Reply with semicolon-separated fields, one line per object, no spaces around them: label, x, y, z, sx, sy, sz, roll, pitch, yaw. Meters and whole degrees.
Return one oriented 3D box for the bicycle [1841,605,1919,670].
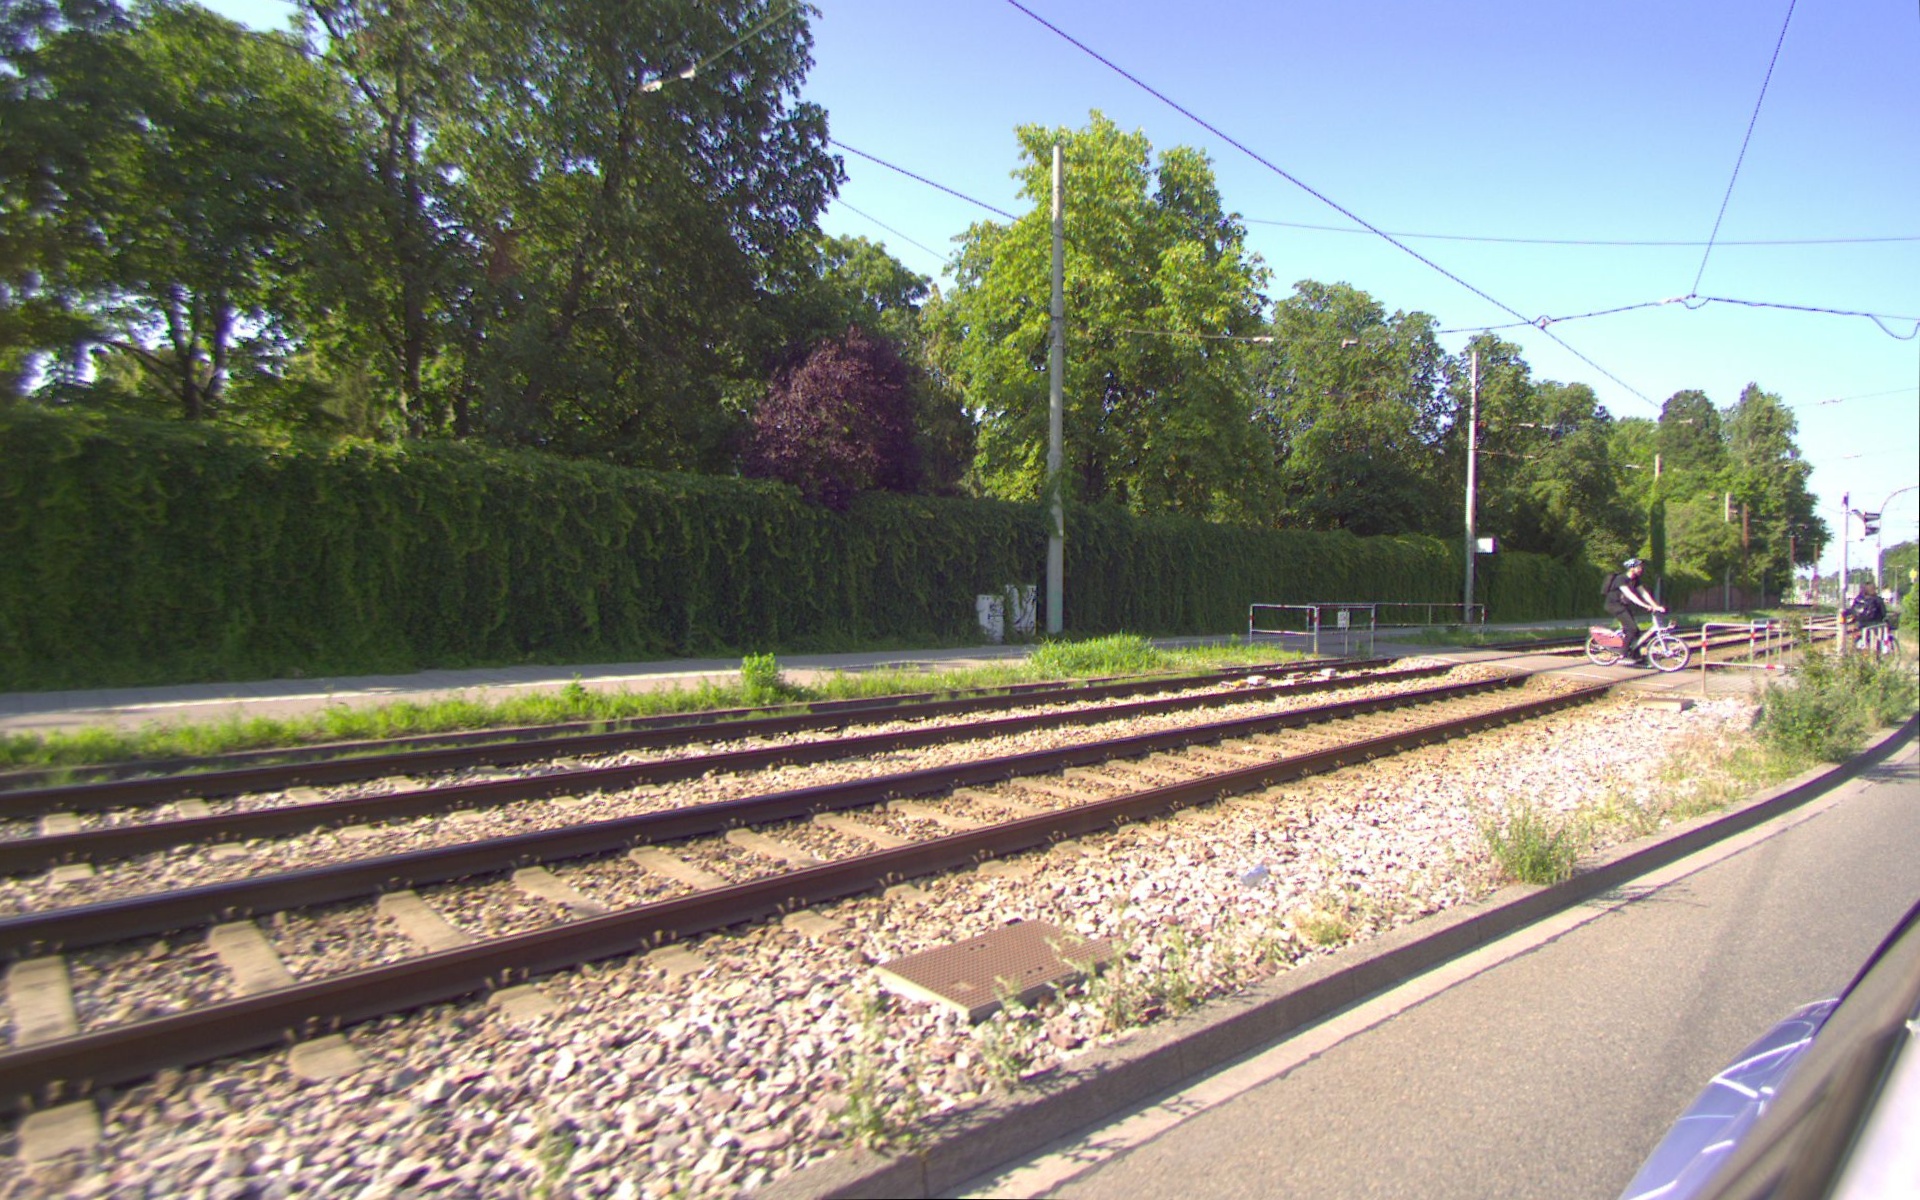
bicycle;17.884;0.708;19.515;1.897;1.168;0.647;1;4;-28

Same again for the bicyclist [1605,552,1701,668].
bicyclist;12.424;0.166;18.168;0.927;2.018;1.039;1;1;-19

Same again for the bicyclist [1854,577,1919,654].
bicyclist;17.810;0.286;19.428;0.992;1.433;0.646;1;1;-28

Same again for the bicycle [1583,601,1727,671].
bicycle;12.419;0.610;18.165;0.927;1.129;1.931;1;1;-19
